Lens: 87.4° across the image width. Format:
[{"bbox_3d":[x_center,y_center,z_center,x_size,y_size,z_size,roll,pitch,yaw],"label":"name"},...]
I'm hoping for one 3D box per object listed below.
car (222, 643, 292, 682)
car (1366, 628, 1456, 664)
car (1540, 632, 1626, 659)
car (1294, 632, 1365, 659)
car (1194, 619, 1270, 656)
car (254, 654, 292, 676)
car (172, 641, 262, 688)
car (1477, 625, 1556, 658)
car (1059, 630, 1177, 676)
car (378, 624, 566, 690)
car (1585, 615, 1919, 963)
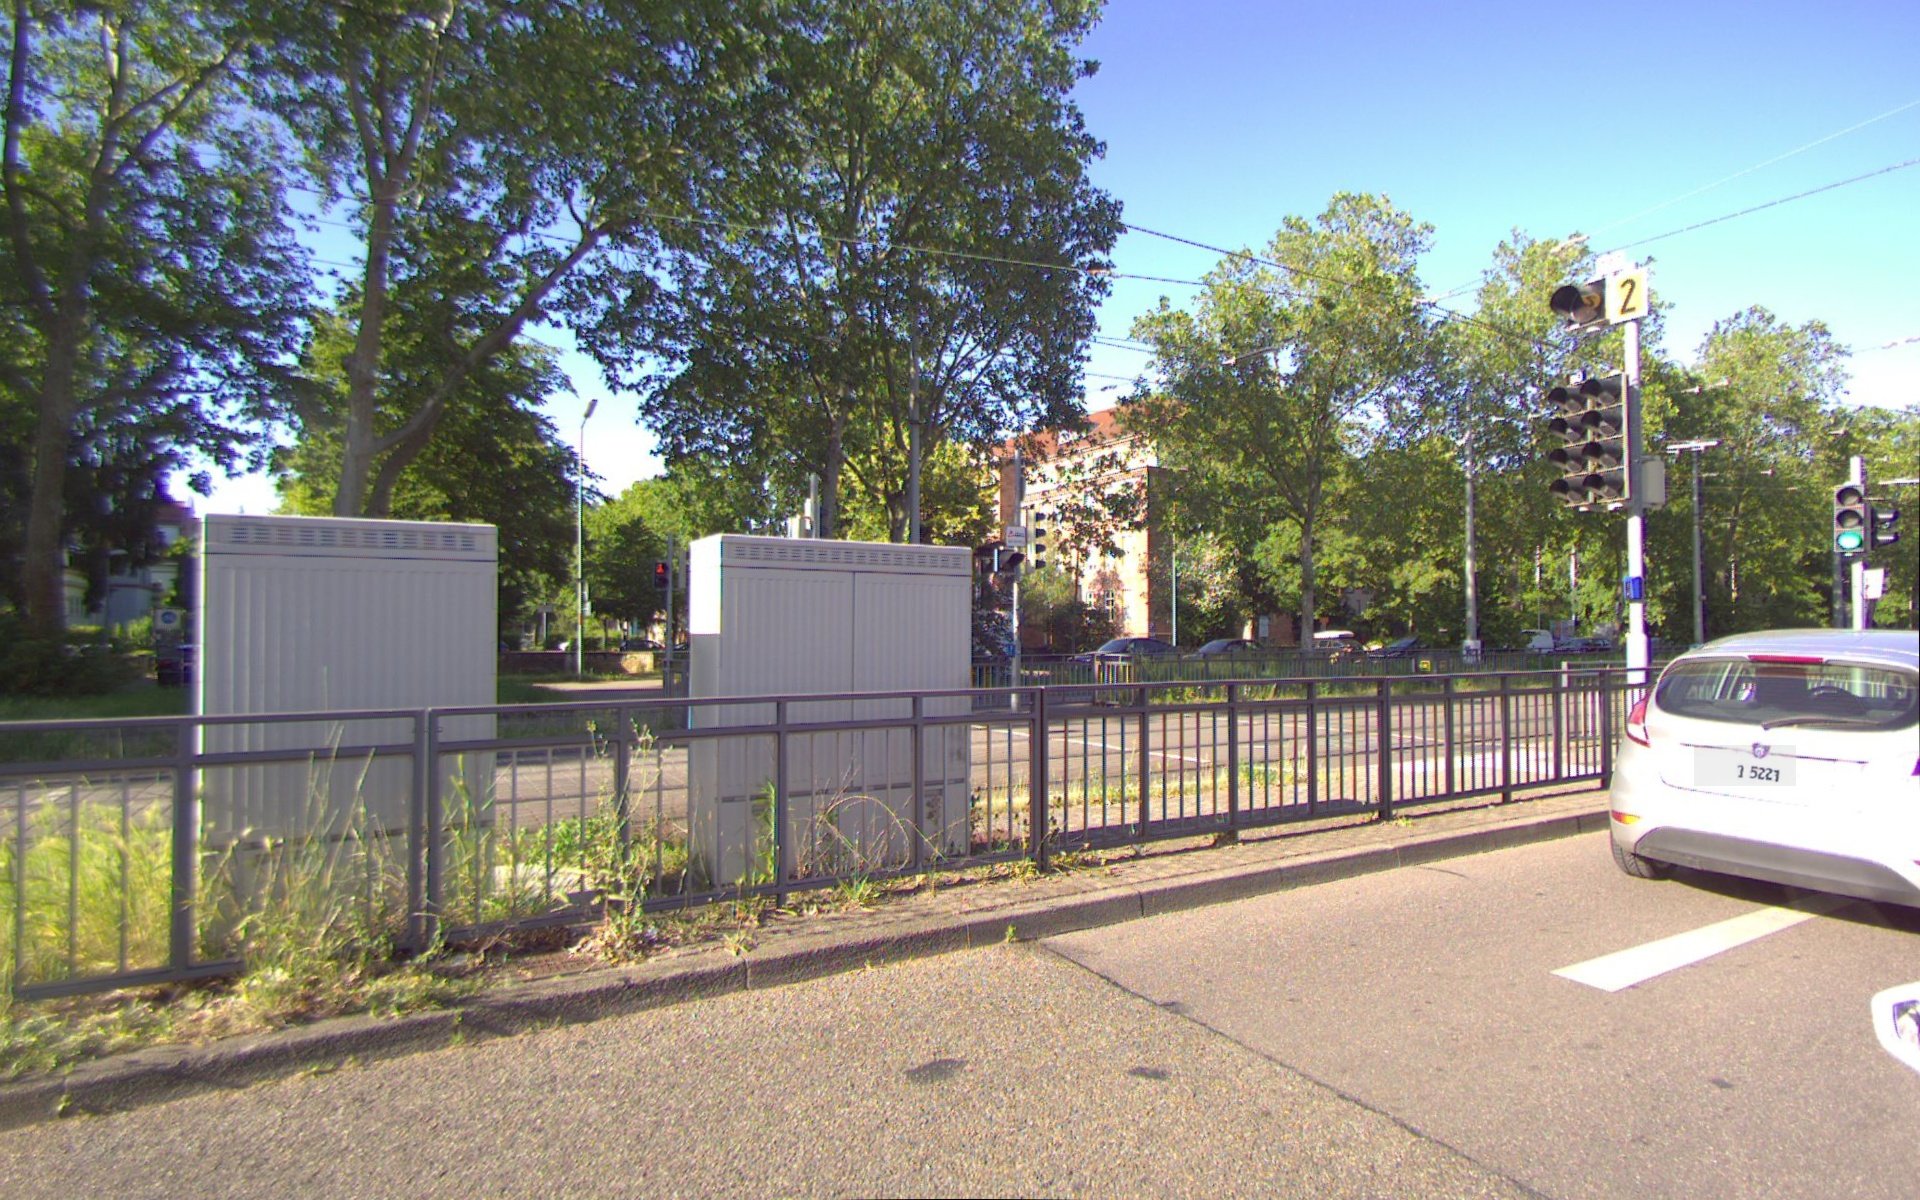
[{"bbox_3d":[-29.296,2.564,41.976,1.976,1.437,3.969,1,-1,-29],"label":"car"},{"bbox_3d":[20.157,2.030,44.873,4.098,1.529,1.660,1,-2,-32],"label":"car"},{"bbox_3d":[32.748,2.392,52.744,4.795,1.366,1.926,2,-2,-32],"label":"car"},{"bbox_3d":[21.156,2.586,57.656,1.375,1.514,3.974,1,-2,-26],"label":"car"},{"bbox_3d":[15.411,2.114,56.950,3.953,2.040,1.984,1,-2,-30],"label":"car"},{"bbox_3d":[-39.233,3.695,57.413,1.513,1.134,3.102,1,-2,-29],"label":"car"},{"bbox_3d":[-25.553,2.186,34.672,1.976,1.437,3.969,1,-1,-29],"label":"car"},{"bbox_3d":[27.568,2.031,49.727,4.098,1.529,1.660,1,-1,-32],"label":"car"},{"bbox_3d":[5.663,1.863,35.907,4.098,1.529,1.660,1,-2,-32],"label":"car"},{"bbox_3d":[-12.179,1.384,25.139,4.098,1.529,1.660,1,-2,-32],"label":"car"},{"bbox_3d":[5.394,0.846,5.846,3.850,1.487,1.599,1,-1,-35],"label":"car"}]
